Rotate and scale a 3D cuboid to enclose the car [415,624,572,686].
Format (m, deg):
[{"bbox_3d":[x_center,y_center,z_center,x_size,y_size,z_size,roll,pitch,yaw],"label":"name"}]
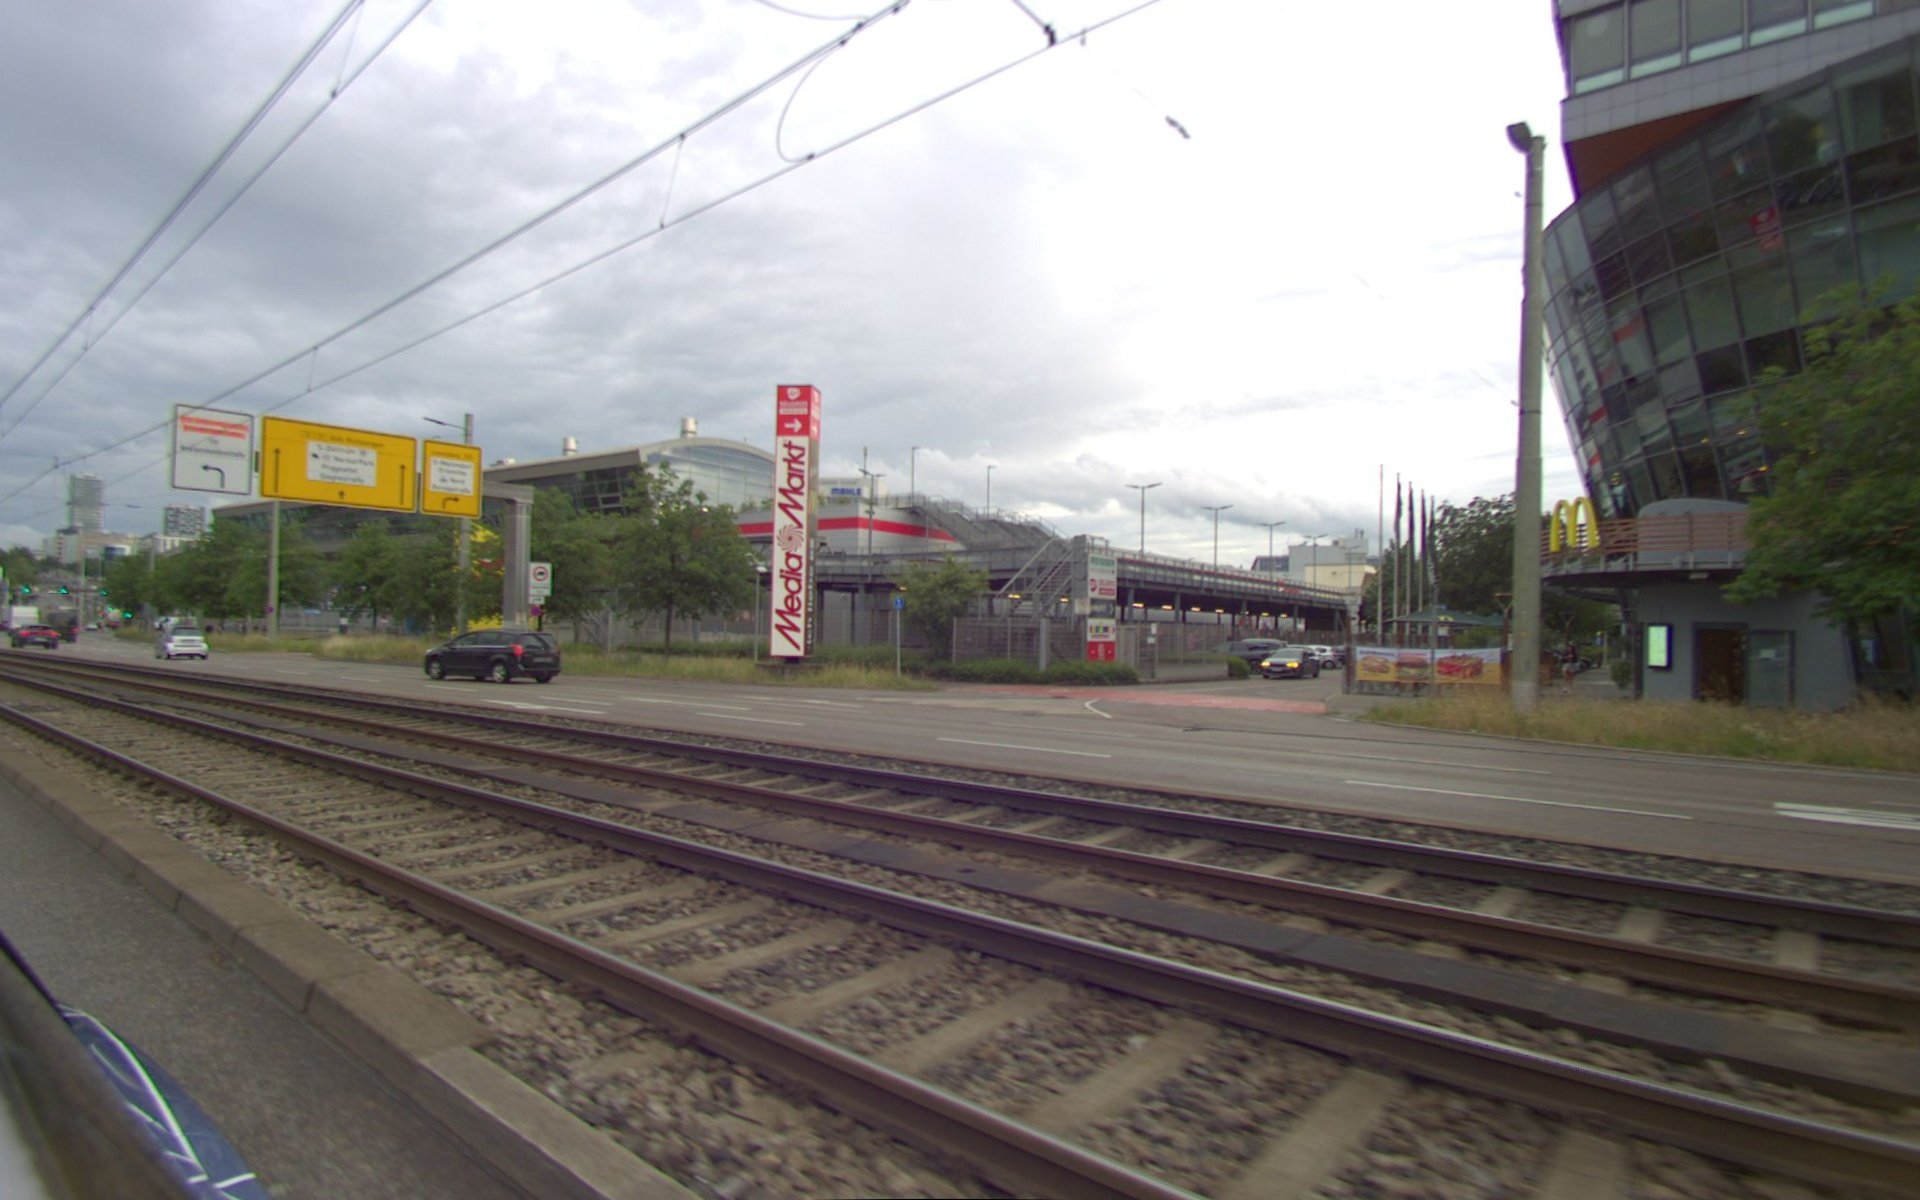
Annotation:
[{"bbox_3d":[-14.094,1.652,30.588,4.185,1.749,1.984,0,-4,23],"label":"car"}]

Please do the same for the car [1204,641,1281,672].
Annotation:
[{"bbox_3d":[15.367,3.056,55.034,3.966,1.638,1.774,-1,-1,17],"label":"car"}]

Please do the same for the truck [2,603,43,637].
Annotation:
[{"bbox_3d":[-104.329,2.224,112.586,7.153,3.383,2.697,2,-2,43],"label":"truck"}]

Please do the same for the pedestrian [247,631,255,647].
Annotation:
[{"bbox_3d":[-68.902,3.791,98.366,0.650,1.467,0.447,-1,0,30],"label":"pedestrian"}]

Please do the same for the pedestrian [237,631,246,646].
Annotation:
[{"bbox_3d":[-69.493,3.734,97.888,0.650,1.467,0.507,-1,0,30],"label":"pedestrian"}]

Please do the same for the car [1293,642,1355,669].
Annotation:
[{"bbox_3d":[22.788,3.471,63.508,3.462,1.607,1.673,0,-3,14],"label":"car"}]

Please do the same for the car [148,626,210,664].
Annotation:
[{"bbox_3d":[-35.933,2.043,46.549,2.949,1.548,1.581,1,-3,41],"label":"car"}]

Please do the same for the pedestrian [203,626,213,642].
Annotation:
[{"bbox_3d":[-77.054,3.484,103.661,0.626,1.575,0.675,-1,0,40],"label":"pedestrian"}]

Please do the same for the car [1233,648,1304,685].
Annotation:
[{"bbox_3d":[13.968,3.013,45.696,1.728,1.476,3.947,-1,-5,39],"label":"car"}]

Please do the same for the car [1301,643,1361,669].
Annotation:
[{"bbox_3d":[24.153,3.636,65.951,3.462,1.607,1.673,0,-3,14],"label":"car"}]

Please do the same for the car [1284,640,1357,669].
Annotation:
[{"bbox_3d":[21.319,3.204,60.032,3.966,1.638,1.774,-1,-1,17],"label":"car"}]

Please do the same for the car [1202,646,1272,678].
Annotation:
[{"bbox_3d":[14.263,3.182,52.275,3.462,1.532,1.673,0,-3,14],"label":"car"}]

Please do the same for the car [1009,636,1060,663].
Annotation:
[{"bbox_3d":[4.071,2.710,56.224,1.636,1.292,4.119,-1,0,-13],"label":"car"}]

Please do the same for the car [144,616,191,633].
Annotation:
[{"bbox_3d":[-115.278,3.574,147.188,1.988,2.350,5.023,-1,-3,23],"label":"car"}]

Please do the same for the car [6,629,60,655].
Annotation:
[{"bbox_3d":[-54.540,2.447,59.539,4.233,1.440,1.784,-1,-4,40],"label":"car"}]

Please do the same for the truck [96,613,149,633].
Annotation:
[{"bbox_3d":[-166.642,4.672,201.588,4.023,3.785,10.884,1,-2,-16],"label":"truck"}]

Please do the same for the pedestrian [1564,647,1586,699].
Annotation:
[{"bbox_3d":[20.381,2.406,33.534,0.579,1.692,0.801,-1,-3,30],"label":"pedestrian"}]

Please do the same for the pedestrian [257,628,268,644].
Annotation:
[{"bbox_3d":[-65.883,3.381,95.558,0.744,1.450,0.602,-1,0,36],"label":"pedestrian"}]

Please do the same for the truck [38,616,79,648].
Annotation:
[{"bbox_3d":[-77.394,2.725,86.831,2.213,2.584,7.018,2,-3,-45],"label":"truck"}]

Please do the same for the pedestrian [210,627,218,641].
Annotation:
[{"bbox_3d":[-81.542,3.681,110.627,0.758,1.509,0.542,-1,0,43],"label":"pedestrian"}]

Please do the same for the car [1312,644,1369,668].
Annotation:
[{"bbox_3d":[26.246,3.860,69.859,3.462,1.607,1.673,0,-3,14],"label":"car"}]
